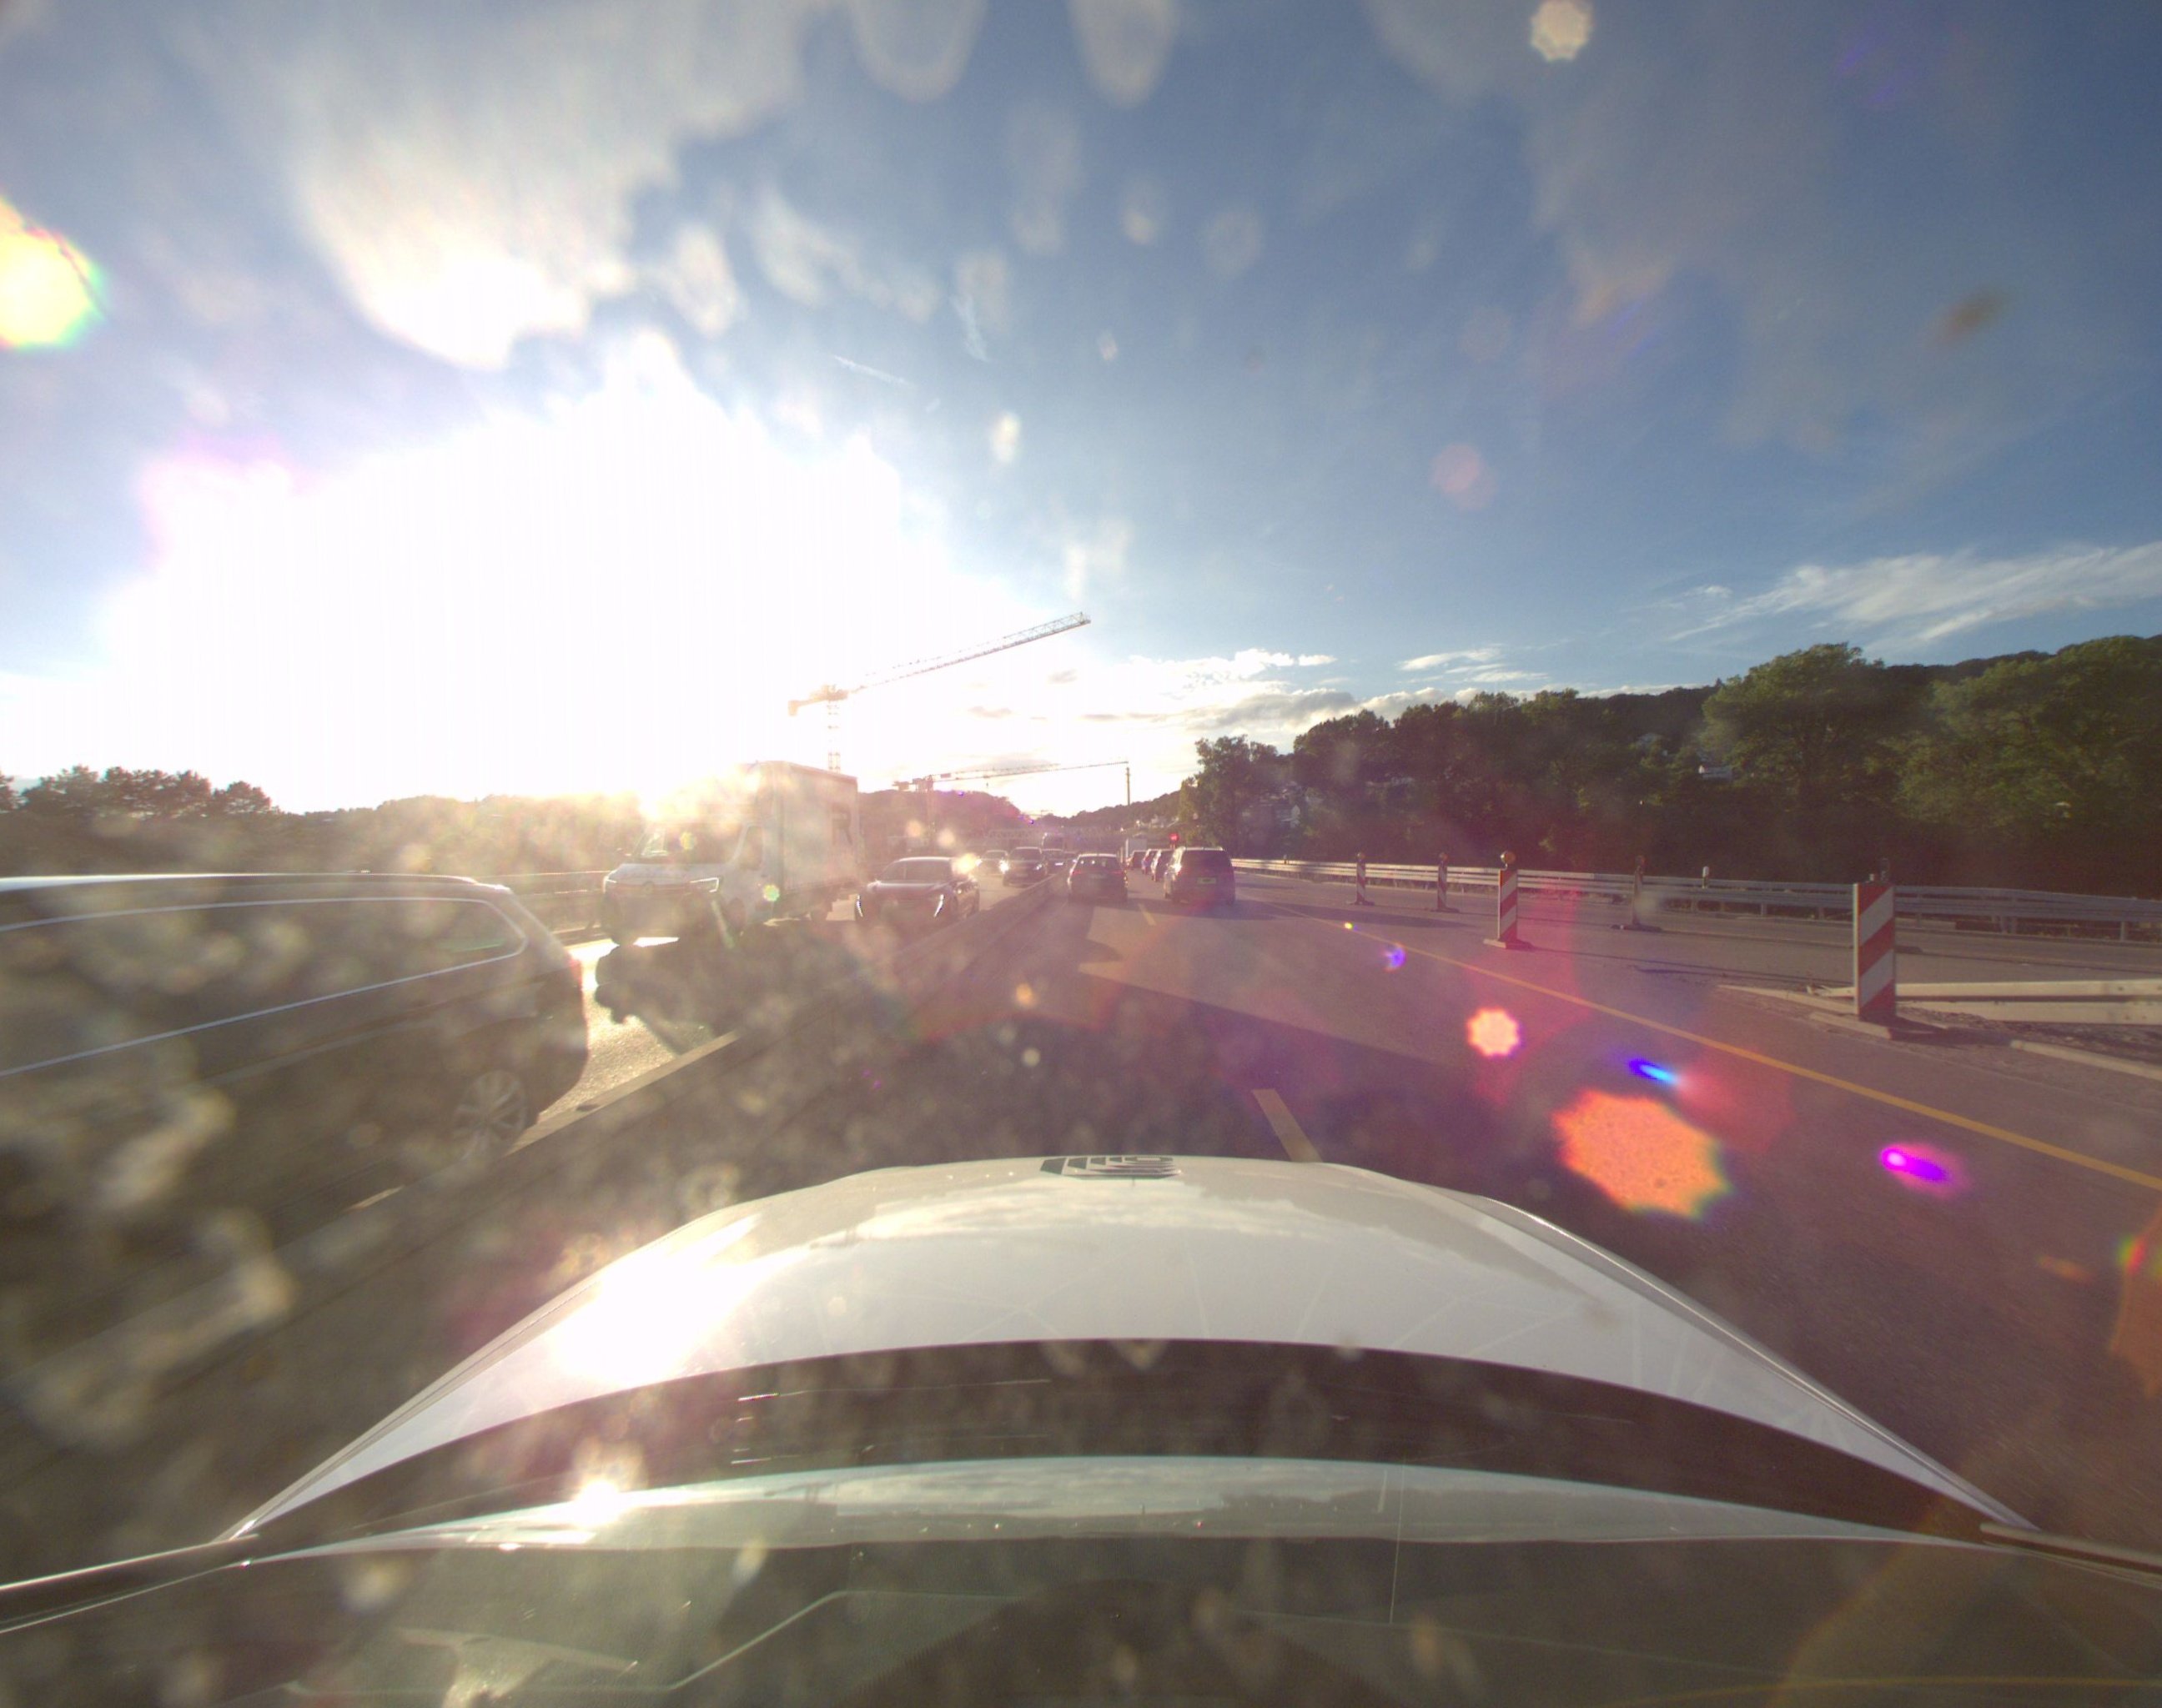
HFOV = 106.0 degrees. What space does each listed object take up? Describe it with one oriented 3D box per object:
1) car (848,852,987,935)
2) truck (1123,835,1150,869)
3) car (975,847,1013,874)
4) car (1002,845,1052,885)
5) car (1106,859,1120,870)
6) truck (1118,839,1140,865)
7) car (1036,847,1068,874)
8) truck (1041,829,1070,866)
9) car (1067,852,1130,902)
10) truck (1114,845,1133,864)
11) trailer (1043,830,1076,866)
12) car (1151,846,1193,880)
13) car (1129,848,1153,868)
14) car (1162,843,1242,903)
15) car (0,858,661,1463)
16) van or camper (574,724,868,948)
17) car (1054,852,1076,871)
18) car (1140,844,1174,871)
[{"bbox_3d":[-3.212,0.703,16.992,1.809,1.463,4.707,-1,0,1],"label":"car"},{"bbox_3d":[7.743,-0.467,115.031,3.372,4.498,15.277,0,1,2],"label":"truck"},{"bbox_3d":[-5.269,0.382,49.651,1.685,1.568,4.295,-1,0,2],"label":"car"},{"bbox_3d":[-2.289,0.446,35.748,1.821,1.640,4.530,-1,0,1],"label":"car"},{"bbox_3d":[4.353,1.472,112.270,1.856,1.420,4.001,0,-1,2],"label":"car"},{"bbox_3d":[8.934,-0.392,153.010,3.876,4.498,15.273,0,0,2],"label":"truck"},{"bbox_3d":[-1.720,0.397,49.889,1.737,1.584,4.706,-1,0,1],"label":"car"},{"bbox_3d":[-2.835,-0.696,92.020,2.803,4.048,5.676,-1,0,3],"label":"truck"},{"bbox_3d":[0.511,0.642,24.809,1.764,1.390,4.000,0,0,0],"label":"car"},{"bbox_3d":[10.215,0.098,196.233,3.878,4.498,13.845,0,0,0],"label":"truck"},{"bbox_3d":[-2.474,-0.669,99.086,2.803,4.050,14.031,-1,0,3],"label":"trailer"},{"bbox_3d":[4.378,0.411,39.769,1.767,1.586,4.137,0,0,2],"label":"car"},{"bbox_3d":[5.079,0.370,69.092,1.808,1.632,4.412,0,-1,1],"label":"car"},{"bbox_3d":[3.528,0.496,24.513,1.806,1.615,4.527,1,1,1],"label":"car"},{"bbox_3d":[-3.551,0.775,2.628,1.809,1.463,4.707,-1,0,2],"label":"car"},{"bbox_3d":[-6.648,-0.291,16.543,2.448,3.498,7.416,-1,0,2],"label":"van or camper"},{"bbox_3d":[-1.328,0.602,68.198,1.761,1.535,4.000,0,-1,0],"label":"car"},{"bbox_3d":[4.801,0.241,52.005,1.868,1.599,4.967,-1,-1,2],"label":"car"}]
